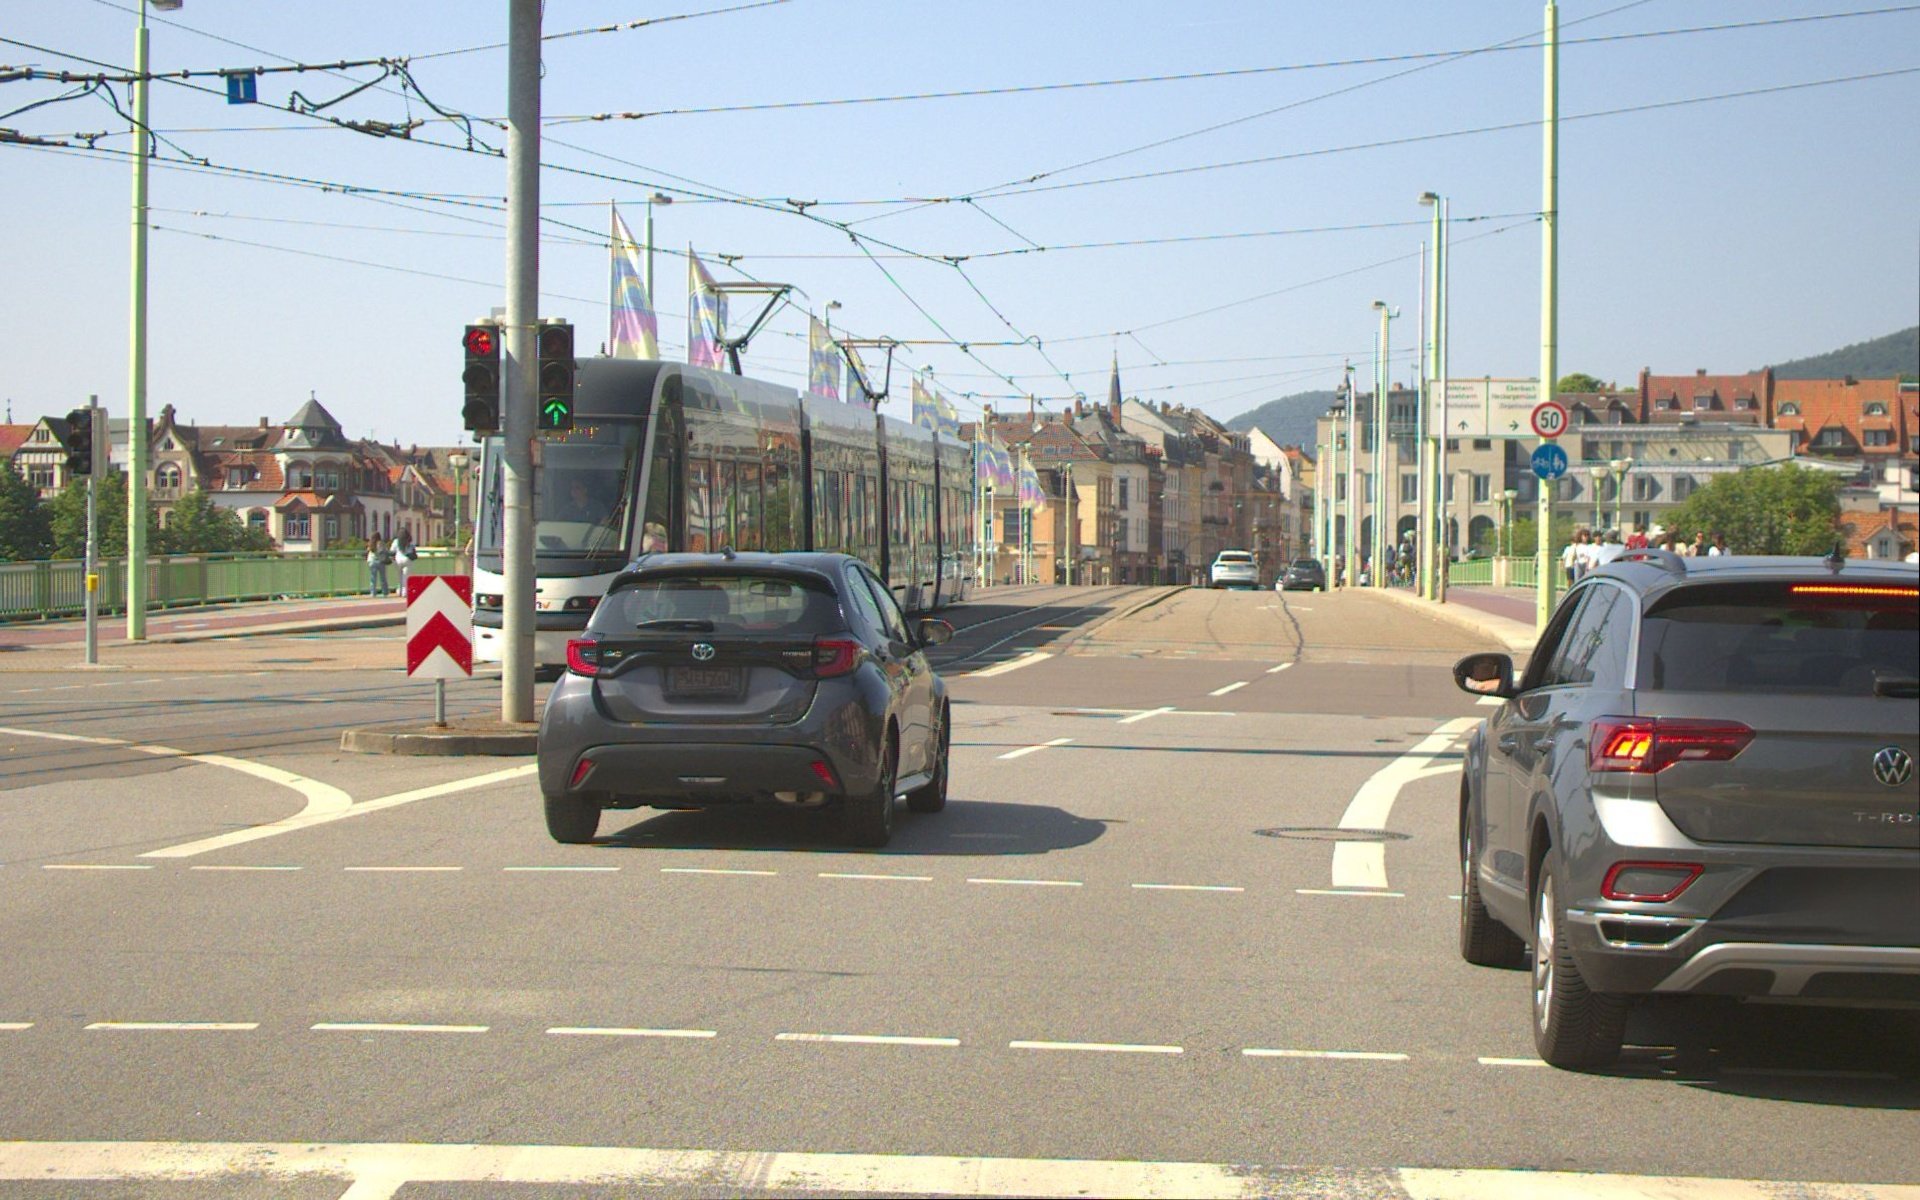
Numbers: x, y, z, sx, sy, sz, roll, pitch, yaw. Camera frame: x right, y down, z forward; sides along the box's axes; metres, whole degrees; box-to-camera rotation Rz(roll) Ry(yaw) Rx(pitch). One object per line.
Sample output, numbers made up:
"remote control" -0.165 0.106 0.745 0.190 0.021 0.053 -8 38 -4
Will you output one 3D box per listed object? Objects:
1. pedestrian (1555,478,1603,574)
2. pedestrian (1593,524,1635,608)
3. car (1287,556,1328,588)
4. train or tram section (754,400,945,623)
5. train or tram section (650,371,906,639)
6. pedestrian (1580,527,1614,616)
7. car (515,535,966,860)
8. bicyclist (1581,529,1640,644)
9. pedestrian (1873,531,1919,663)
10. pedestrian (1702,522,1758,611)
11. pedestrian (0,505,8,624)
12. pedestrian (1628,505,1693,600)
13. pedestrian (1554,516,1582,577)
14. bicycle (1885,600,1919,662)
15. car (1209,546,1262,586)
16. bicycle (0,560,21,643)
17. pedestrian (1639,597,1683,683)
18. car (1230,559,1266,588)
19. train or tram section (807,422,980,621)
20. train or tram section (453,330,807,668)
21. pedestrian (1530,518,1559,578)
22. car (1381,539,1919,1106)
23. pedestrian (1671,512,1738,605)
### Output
"pedestrian" 13.020 -1.554 72.298 0.803 2.007 0.954 1 0 -1
"pedestrian" 13.480 -0.700 70.878 0.695 1.710 0.732 1 0 -1
"car" 16.273 -1.314 160.677 1.804 1.464 3.999 -1 0 7
"train or tram section" -1.850 -1.597 61.671 2.404 3.668 9.618 0 2 4
"train or tram section" -2.636 -1.459 52.905 2.538 3.764 9.168 0 2 6
"pedestrian" 13.002 -0.584 70.142 0.549 1.793 0.646 1 0 -1
"car" -1.057 0.427 18.525 1.910 1.535 4.000 0 1 4
"bicyclist" 9.945 -0.208 52.583 0.673 1.738 1.150 0 1 0
"pedestrian" 13.451 -0.051 48.890 0.774 1.849 0.644 1 1 8
"pedestrian" 14.243 -0.622 63.585 0.799 1.629 0.950 0 1 -1
"pedestrian" -16.610 -0.604 58.243 0.898 2.007 0.834 -1 1 -17
"pedestrian" 13.019 -0.875 63.899 0.985 1.744 0.930 1 0 -1
"pedestrian" 15.546 -1.363 87.960 0.650 1.557 0.692 0 1 6
"bicycle" 13.746 0.454 47.218 1.939 0.824 0.565 2 2 9
"car" 10.441 -1.276 130.488 1.804 1.464 4.000 -1 0 2
"bicycle" -15.585 0.029 52.785 2.236 1.274 0.740 -1 1 -17
"pedestrian" 13.498 0.766 66.231 0.654 1.644 0.868 1 0 0
"car" 17.510 -1.610 209.012 1.994 1.711 4.000 1 0 3
"train or tram section" -1.222 -1.647 70.905 2.470 3.764 11.849 0 2 4
"train or tram section" -3.897 -1.241 42.973 2.538 3.764 9.167 0 1 7
"pedestrian" 17.209 -1.541 101.237 0.654 1.738 0.978 1 2 -1
"car" 2.619 0.587 11.397 1.929 1.510 3.993 2 1 0
"pedestrian" 14.207 -0.797 65.660 0.985 1.763 1.254 0 1 -1
